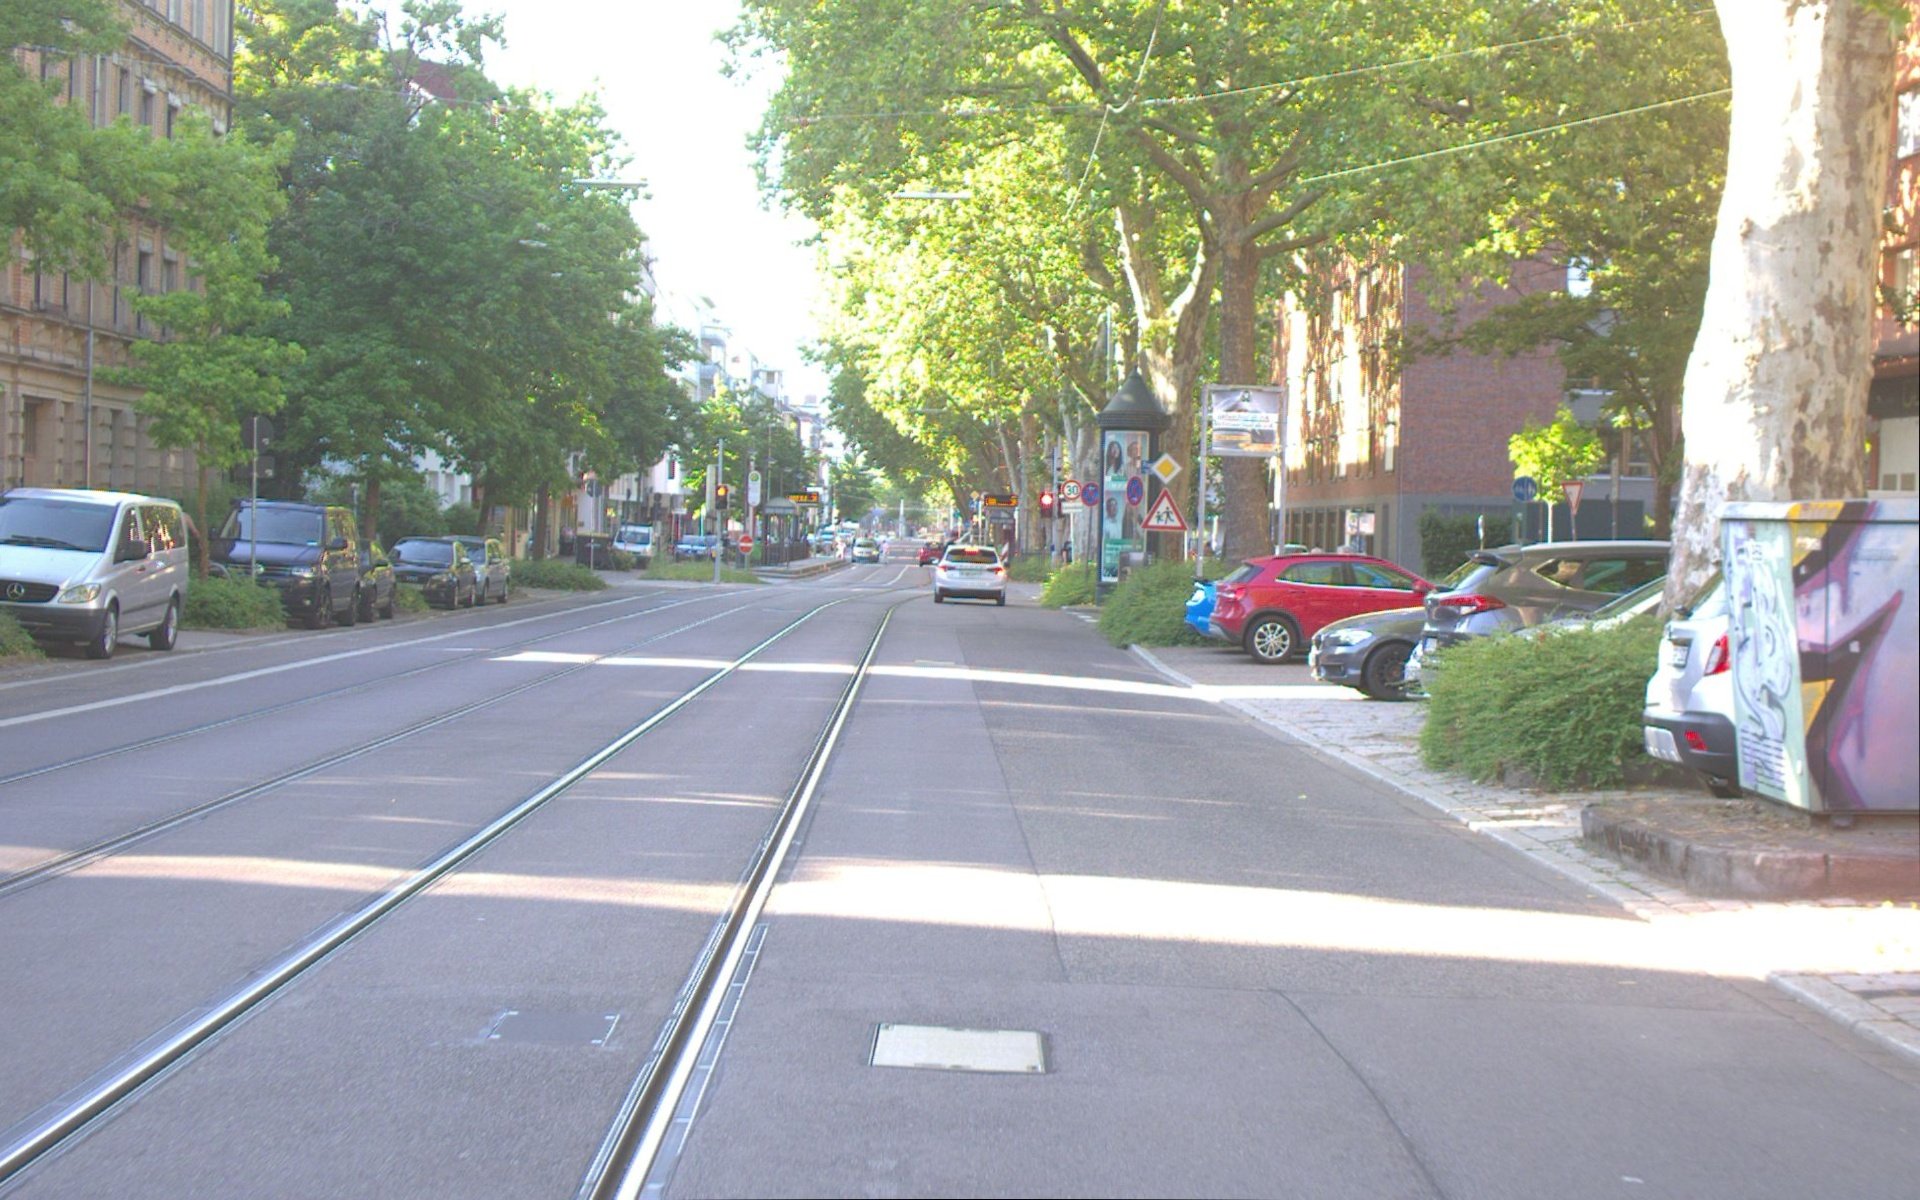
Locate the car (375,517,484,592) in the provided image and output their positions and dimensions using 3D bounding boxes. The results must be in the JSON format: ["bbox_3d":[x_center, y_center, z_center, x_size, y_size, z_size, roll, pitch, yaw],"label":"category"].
[{"bbox_3d":[-10.858,-0.945,70.612,1.658,1.440,3.950,2,1,-1],"label":"car"}]

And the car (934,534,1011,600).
[{"bbox_3d":[0.281,-0.817,83.636,1.788,1.508,4.000,1,1,-1],"label":"car"}]

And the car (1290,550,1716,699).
[{"bbox_3d":[5.730,0.243,36.626,4.199,1.443,1.818,1,1,-1],"label":"car"}]

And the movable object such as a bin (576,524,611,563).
[{"bbox_3d":[-13.604,-2.090,127.704,1.169,1.344,0.783,5,1,-5],"label":"movable object such as a bin"}]

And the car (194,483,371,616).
[{"bbox_3d":[-10.798,-0.825,55.105,1.993,2.007,4.835,1,1,-2],"label":"car"}]

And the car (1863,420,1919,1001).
[{"bbox_3d":[5.769,0.388,11.529,4.845,2.007,2.195,0,1,-4],"label":"car"}]

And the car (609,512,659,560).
[{"bbox_3d":[-13.358,-2.632,141.096,1.688,1.933,4.000,1,1,-1],"label":"car"}]

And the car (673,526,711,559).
[{"bbox_3d":[-13.495,-2.899,173.323,1.593,1.543,4.000,4,1,-1],"label":"car"}]

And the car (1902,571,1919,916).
[{"bbox_3d":[6.050,0.630,14.213,3.781,1.483,1.791,0,1,-2],"label":"car"}]

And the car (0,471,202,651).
[{"bbox_3d":[-10.506,-0.498,40.847,1.843,1.982,4.988,1,1,0],"label":"car"}]

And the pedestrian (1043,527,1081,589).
[{"bbox_3d":[3.137,-1.286,105.653,0.982,1.857,1.016,-2,1,-6],"label":"pedestrian"}]

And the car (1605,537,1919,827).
[{"bbox_3d":[5.874,0.443,20.207,3.781,1.613,1.791,0,1,-2],"label":"car"}]

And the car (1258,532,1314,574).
[{"bbox_3d":[12.236,-1.778,129.190,1.600,1.490,3.417,1,1,-2],"label":"car"}]

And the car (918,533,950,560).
[{"bbox_3d":[-1.512,-3.096,199.753,1.788,1.508,4.000,1,1,-1],"label":"car"}]

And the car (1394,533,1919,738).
[{"bbox_3d":[5.993,0.282,29.453,4.199,1.613,1.879,1,1,-3],"label":"car"}]

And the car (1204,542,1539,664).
[{"bbox_3d":[5.624,0.017,47.447,4.403,1.537,1.952,1,1,2],"label":"car"}]

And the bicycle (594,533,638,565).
[{"bbox_3d":[-12.985,-1.936,129.781,1.533,1.071,0.885,4,1,-1],"label":"bicycle"}]

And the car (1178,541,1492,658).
[{"bbox_3d":[5.414,-0.027,49.731,4.404,1.537,1.817,1,1,7],"label":"car"}]

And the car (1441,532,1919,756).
[{"bbox_3d":[5.992,0.324,26.896,4.200,1.613,1.817,1,1,2],"label":"car"}]

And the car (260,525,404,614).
[{"bbox_3d":[-10.966,-0.559,60.279,1.853,1.453,4.271,1,1,-2],"label":"car"}]

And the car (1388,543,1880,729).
[{"bbox_3d":[6.173,0.307,31.854,4.200,1.568,1.817,1,1,2],"label":"car"}]

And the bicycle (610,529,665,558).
[{"bbox_3d":[-13.933,-2.425,148.479,2.253,1.070,0.636,5,1,1],"label":"bicycle"}]
